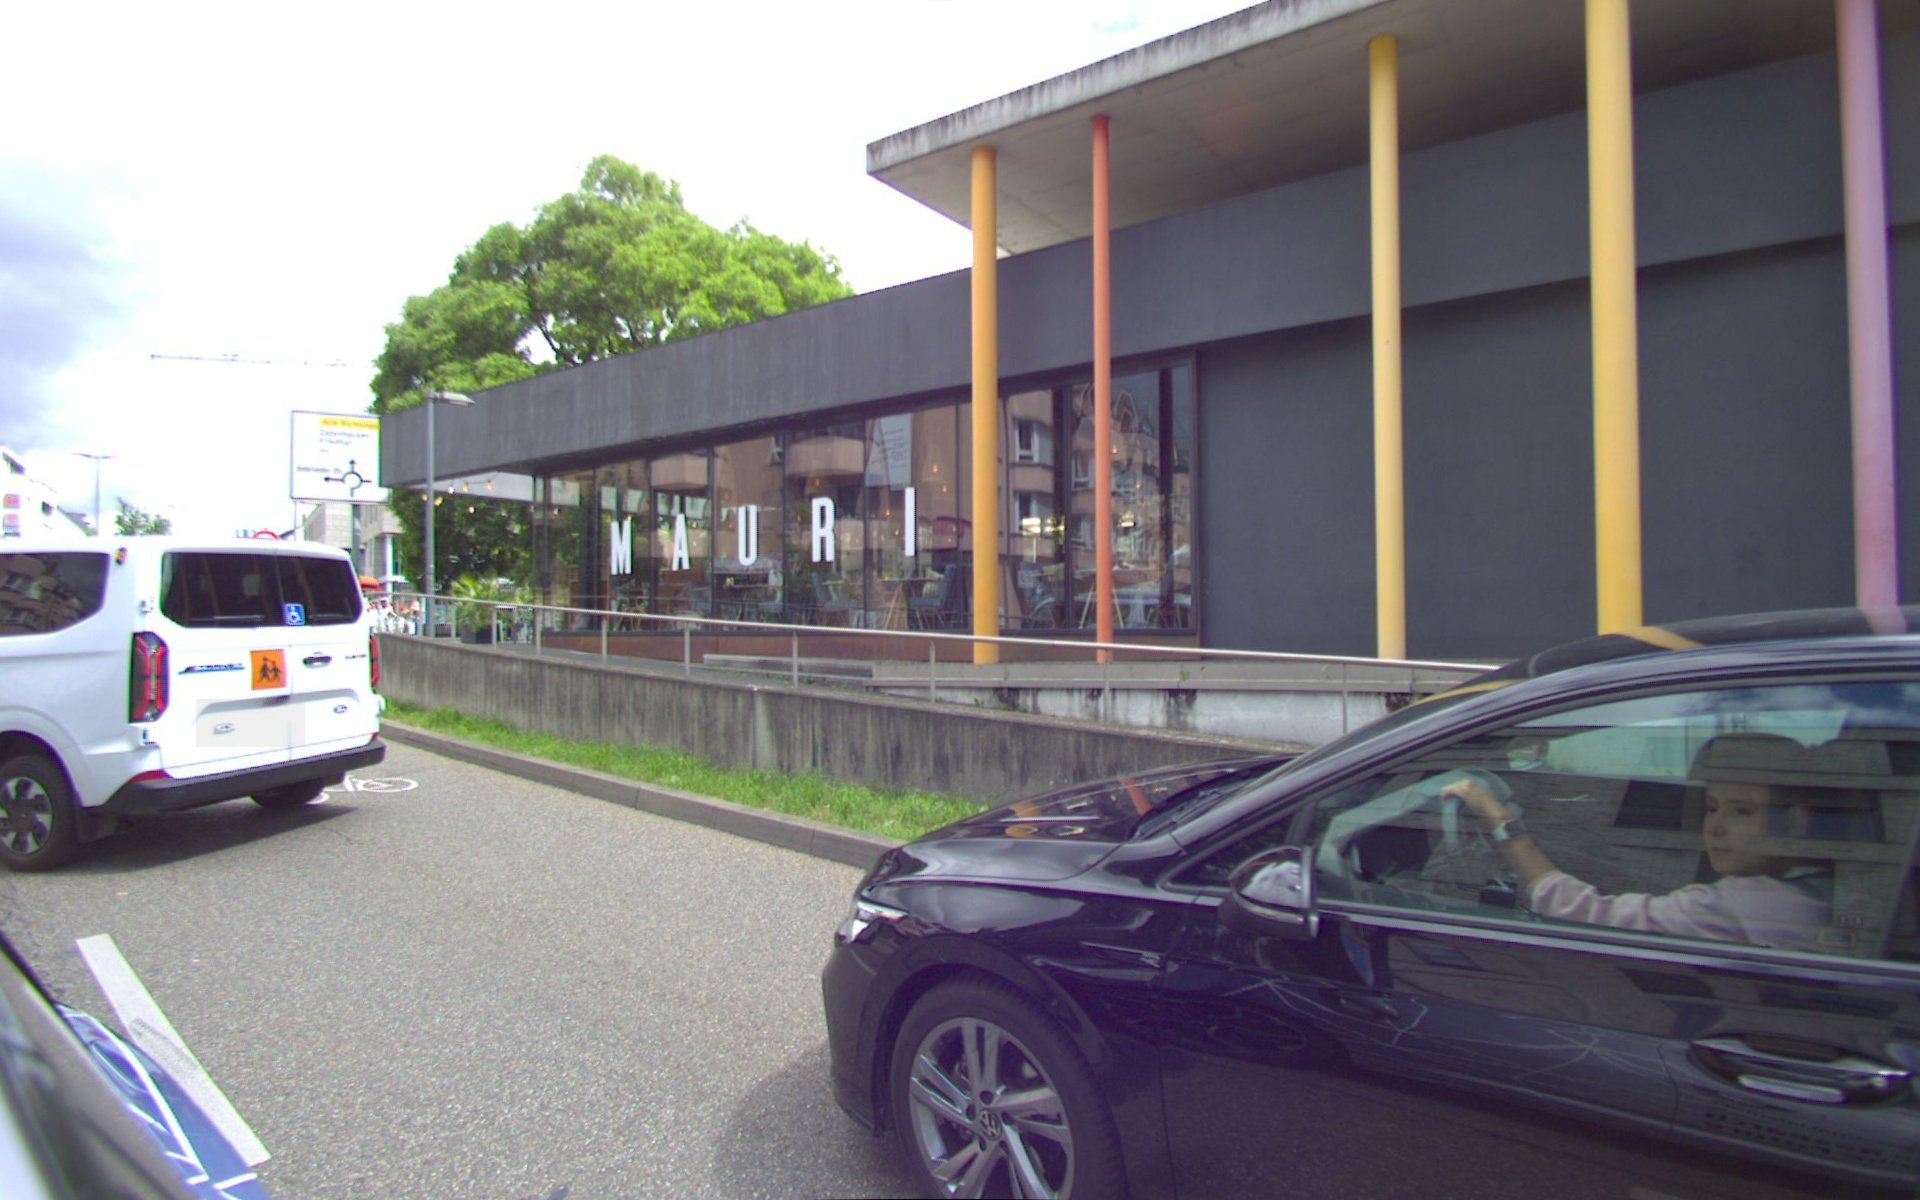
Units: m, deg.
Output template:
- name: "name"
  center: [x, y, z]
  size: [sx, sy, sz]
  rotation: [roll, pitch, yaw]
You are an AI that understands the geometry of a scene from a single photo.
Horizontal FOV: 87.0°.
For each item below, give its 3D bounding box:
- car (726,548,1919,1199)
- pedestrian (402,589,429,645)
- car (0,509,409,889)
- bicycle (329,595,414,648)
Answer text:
- name: "car"
  center: [1.601, 0.674, 1.983]
  size: [4.228, 1.475, 1.755]
  rotation: [-1, -1, 38]
- name: "pedestrian"
  center: [-16.450, 0.515, 30.583]
  size: [0.651, 1.641, 0.802]
  rotation: [0, -2, -34]
- name: "car"
  center: [-6.829, 0.579, 6.957]
  size: [5.338, 2.029, 1.992]
  rotation: [-1, 0, 12]
- name: "bicycle"
  center: [-12.935, 0.475, 22.283]
  size: [1.527, 1.136, 0.534]
  rotation: [2, -2, -41]
